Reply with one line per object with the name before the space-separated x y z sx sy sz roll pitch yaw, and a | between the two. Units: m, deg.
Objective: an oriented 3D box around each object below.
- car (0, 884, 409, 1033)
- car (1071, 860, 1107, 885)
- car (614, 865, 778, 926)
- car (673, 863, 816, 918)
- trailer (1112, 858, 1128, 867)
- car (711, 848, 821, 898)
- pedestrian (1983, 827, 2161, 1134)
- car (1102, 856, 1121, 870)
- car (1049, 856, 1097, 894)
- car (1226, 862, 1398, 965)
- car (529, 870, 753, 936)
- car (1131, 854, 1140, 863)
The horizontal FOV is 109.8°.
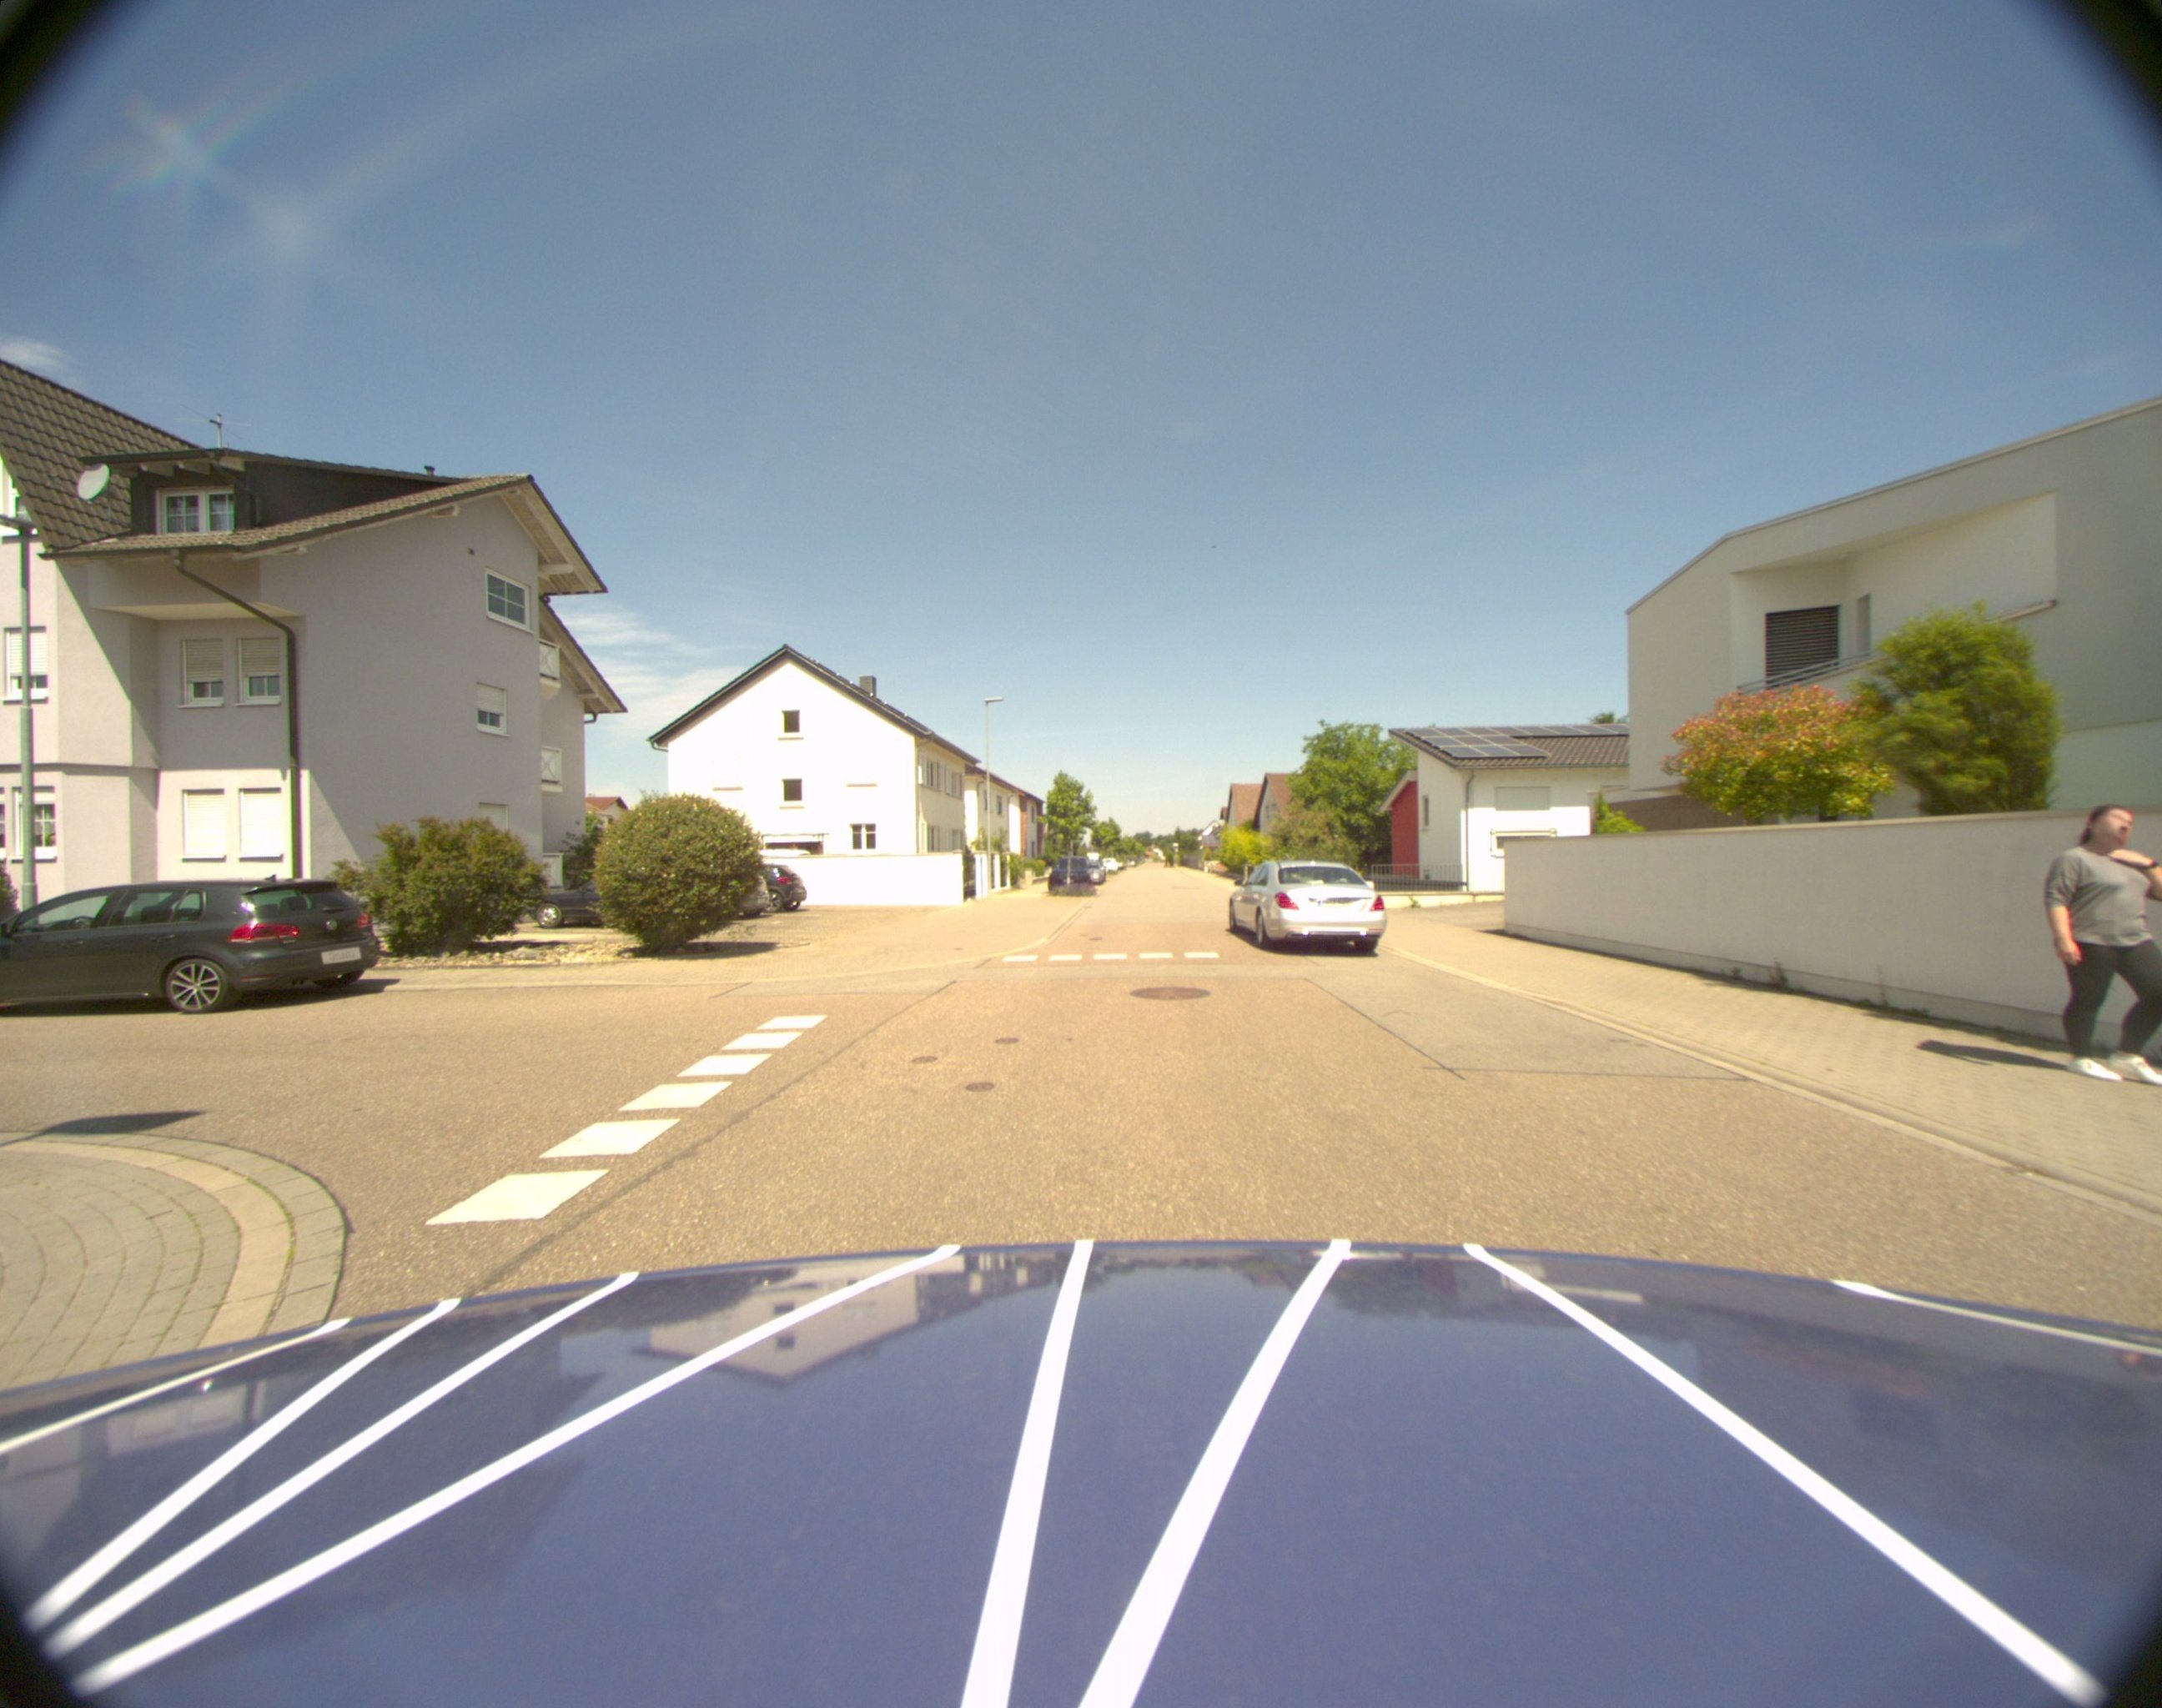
car | -10.793 1.160 8.976 4.003 1.459 1.755 -1 0 -4
car | 0.527 1.100 45.908 1.818 1.412 4.094 -1 0 5
car | -10.083 1.058 20.057 3.453 1.486 1.664 -1 0 1
car | -9.940 1.055 22.642 3.509 1.487 1.664 -1 0 -2
trailer | 4.767 0.982 93.267 1.791 1.052 2.900 -1 0 6
car | -11.900 0.714 28.833 3.394 1.801 1.772 -1 0 3
pedestrian | 6.518 0.712 4.697 0.716 1.737 0.961 -2 0 4
car | 3.141 0.883 78.606 1.818 1.412 3.869 -1 0 4
car | -0.309 0.962 36.339 1.818 1.646 4.566 -1 0 5
car | 3.899 0.911 13.734 1.857 1.469 4.701 1 0 3
car | -10.109 1.096 17.651 4.211 1.366 1.664 -1 0 1
car | 10.561 0.828 147.257 1.597 1.630 3.805 -1 0 8
